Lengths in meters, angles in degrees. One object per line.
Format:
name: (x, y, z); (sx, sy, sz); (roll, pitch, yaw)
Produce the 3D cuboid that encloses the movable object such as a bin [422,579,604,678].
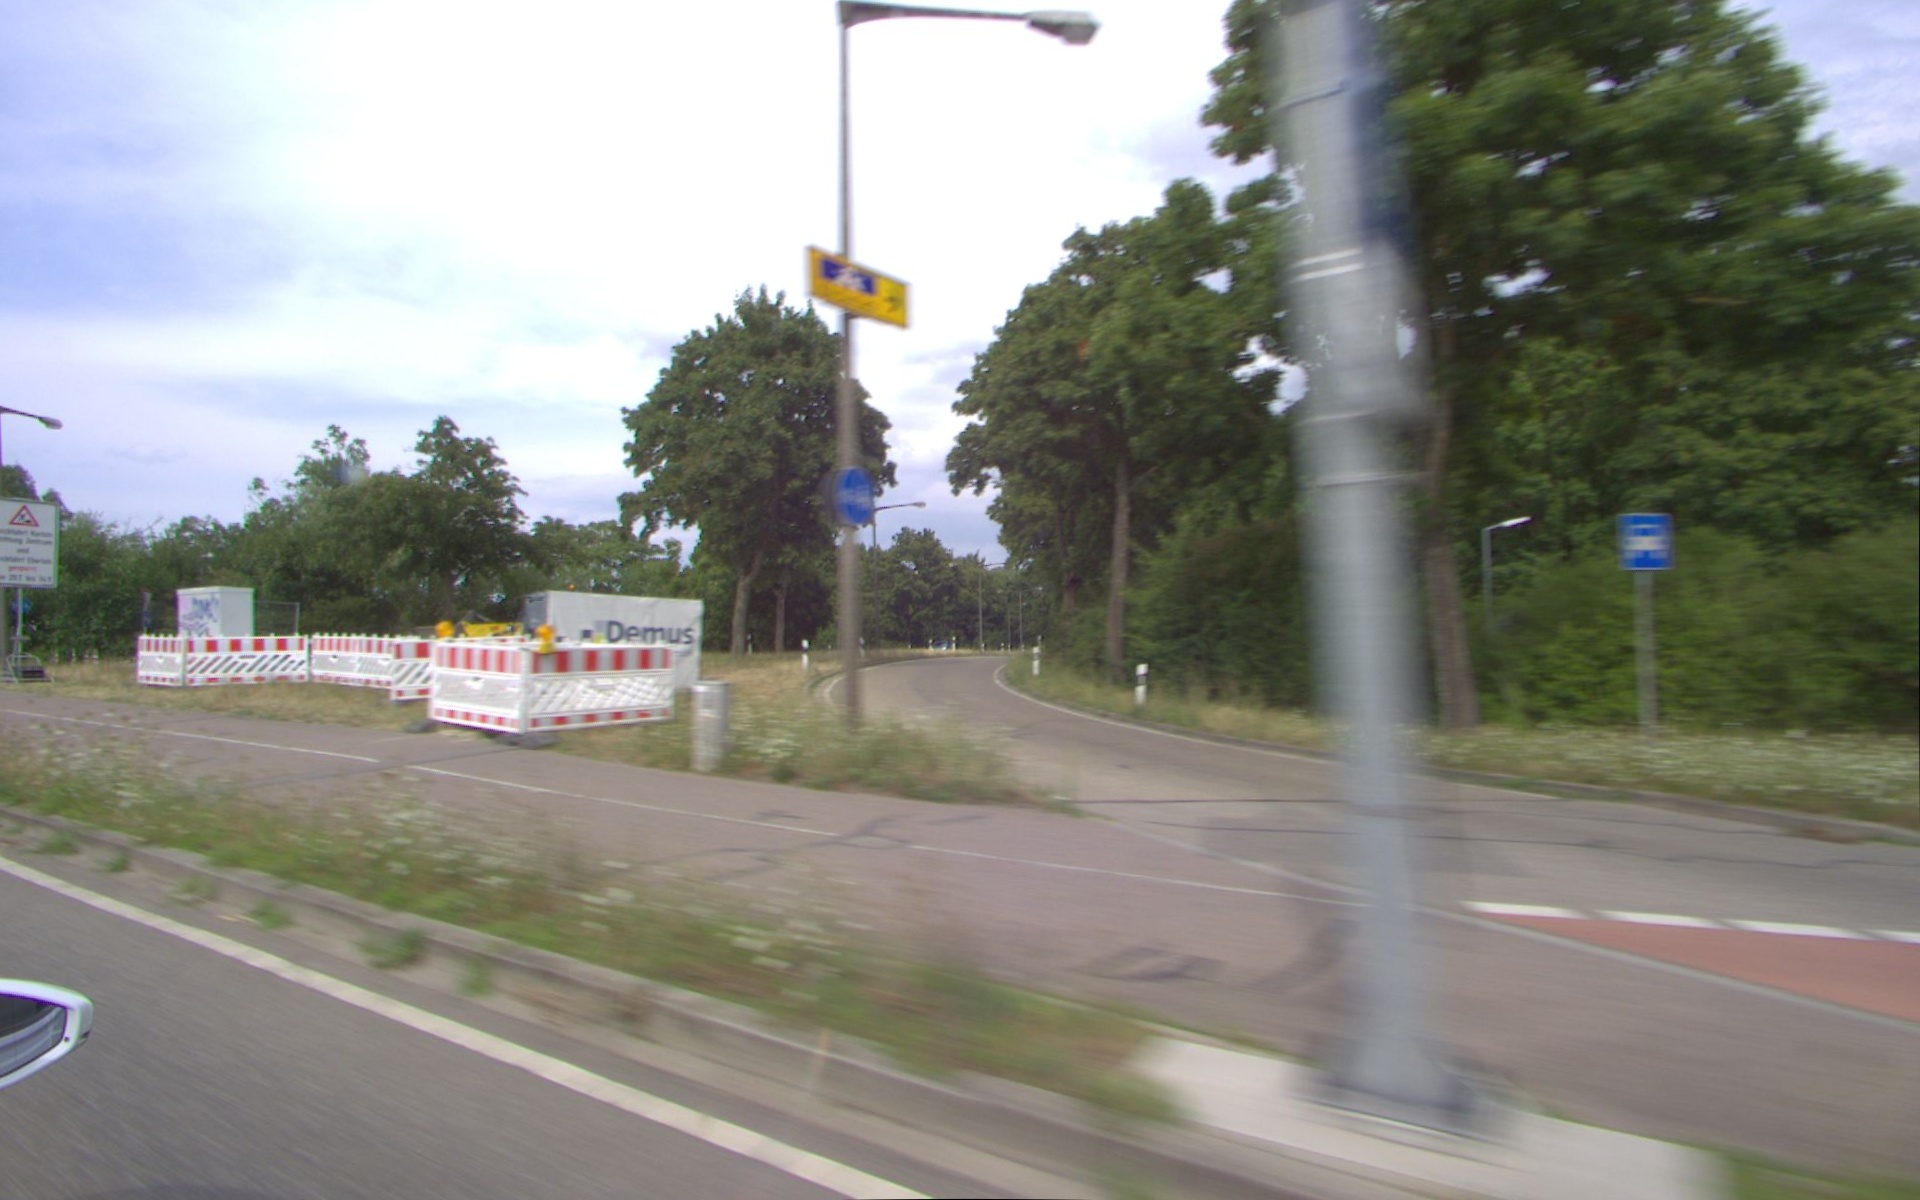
movable object such as a bin: (-13.205, 0.892, 29.812); (2.075, 2.723, 4.488); (-1, -3, 37)
